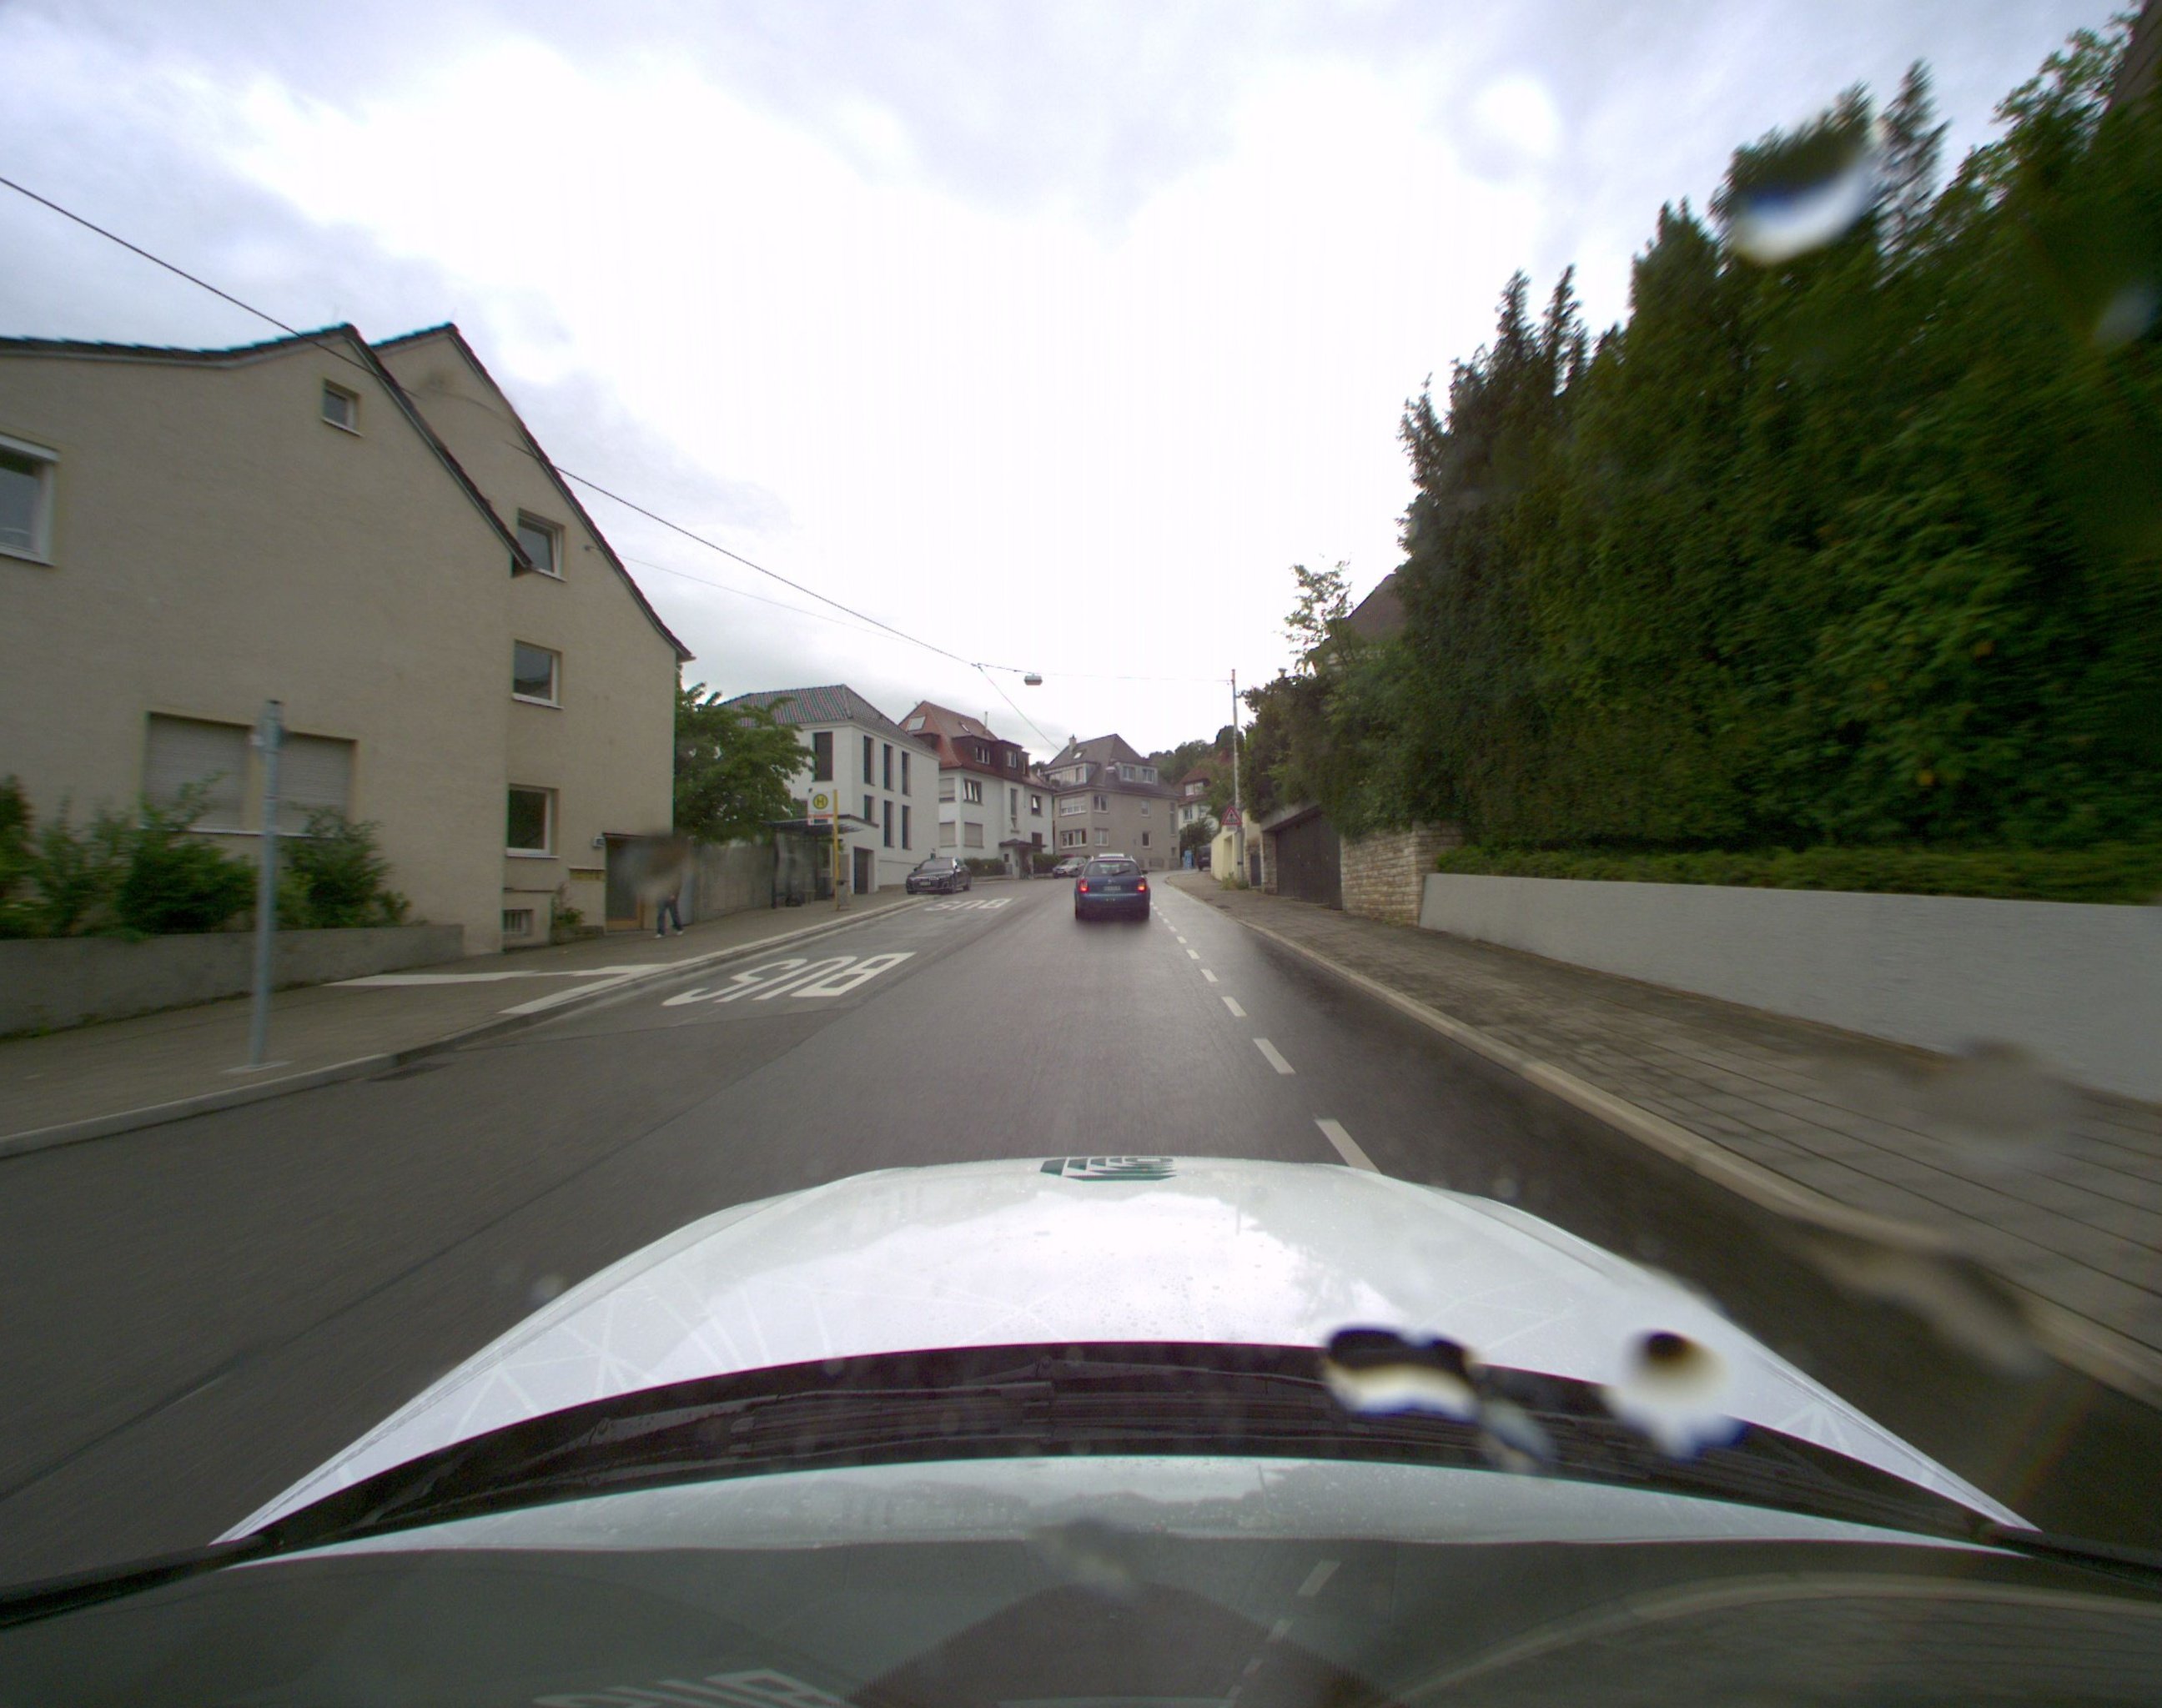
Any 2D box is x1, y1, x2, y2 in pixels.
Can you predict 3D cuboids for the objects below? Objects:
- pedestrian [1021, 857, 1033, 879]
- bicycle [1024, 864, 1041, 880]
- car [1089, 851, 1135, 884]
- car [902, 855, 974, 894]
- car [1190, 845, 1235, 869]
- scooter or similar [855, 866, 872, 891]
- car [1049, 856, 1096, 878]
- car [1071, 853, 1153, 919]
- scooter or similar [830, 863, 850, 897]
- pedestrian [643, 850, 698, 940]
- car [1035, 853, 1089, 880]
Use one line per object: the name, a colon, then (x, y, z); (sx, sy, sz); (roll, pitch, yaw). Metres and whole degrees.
pedestrian: (-3.918, 1.020, 58.820); (0.488, 1.577, 0.952); (-2, -1, 20)
bicycle: (-3.497, 1.283, 58.609); (0.452, 1.067, 1.931); (-2, 0, 21)
car: (1.330, 0.629, 36.379); (1.807, 1.361, 3.996); (0, -2, -2)
car: (-5.999, 0.829, 34.750); (1.821, 1.486, 4.995); (-2, -1, 3)
car: (10.196, 0.226, 62.899); (1.909, 1.706, 4.026); (-3, -1, 33)
scooter or similar: (-9.884, 1.091, 37.052); (0.428, 1.110, 1.312); (-1, 0, 0)
car: (-0.588, 0.955, 59.905); (1.819, 1.425, 4.253); (-4, -1, 24)
car: (0.777, 0.700, 19.887); (1.804, 1.439, 4.084); (0, 0, 3)
scooter or similar: (-8.890, 0.966, 30.082); (0.336, 1.220, 1.123); (-1, -1, 3)
pedestrian: (-8.708, 0.858, 17.302); (0.783, 1.857, 0.728); (0, -1, 2)
car: (-1.631, 1.057, 68.884); (3.949, 1.823, 2.013); (-8, -3, 30)
